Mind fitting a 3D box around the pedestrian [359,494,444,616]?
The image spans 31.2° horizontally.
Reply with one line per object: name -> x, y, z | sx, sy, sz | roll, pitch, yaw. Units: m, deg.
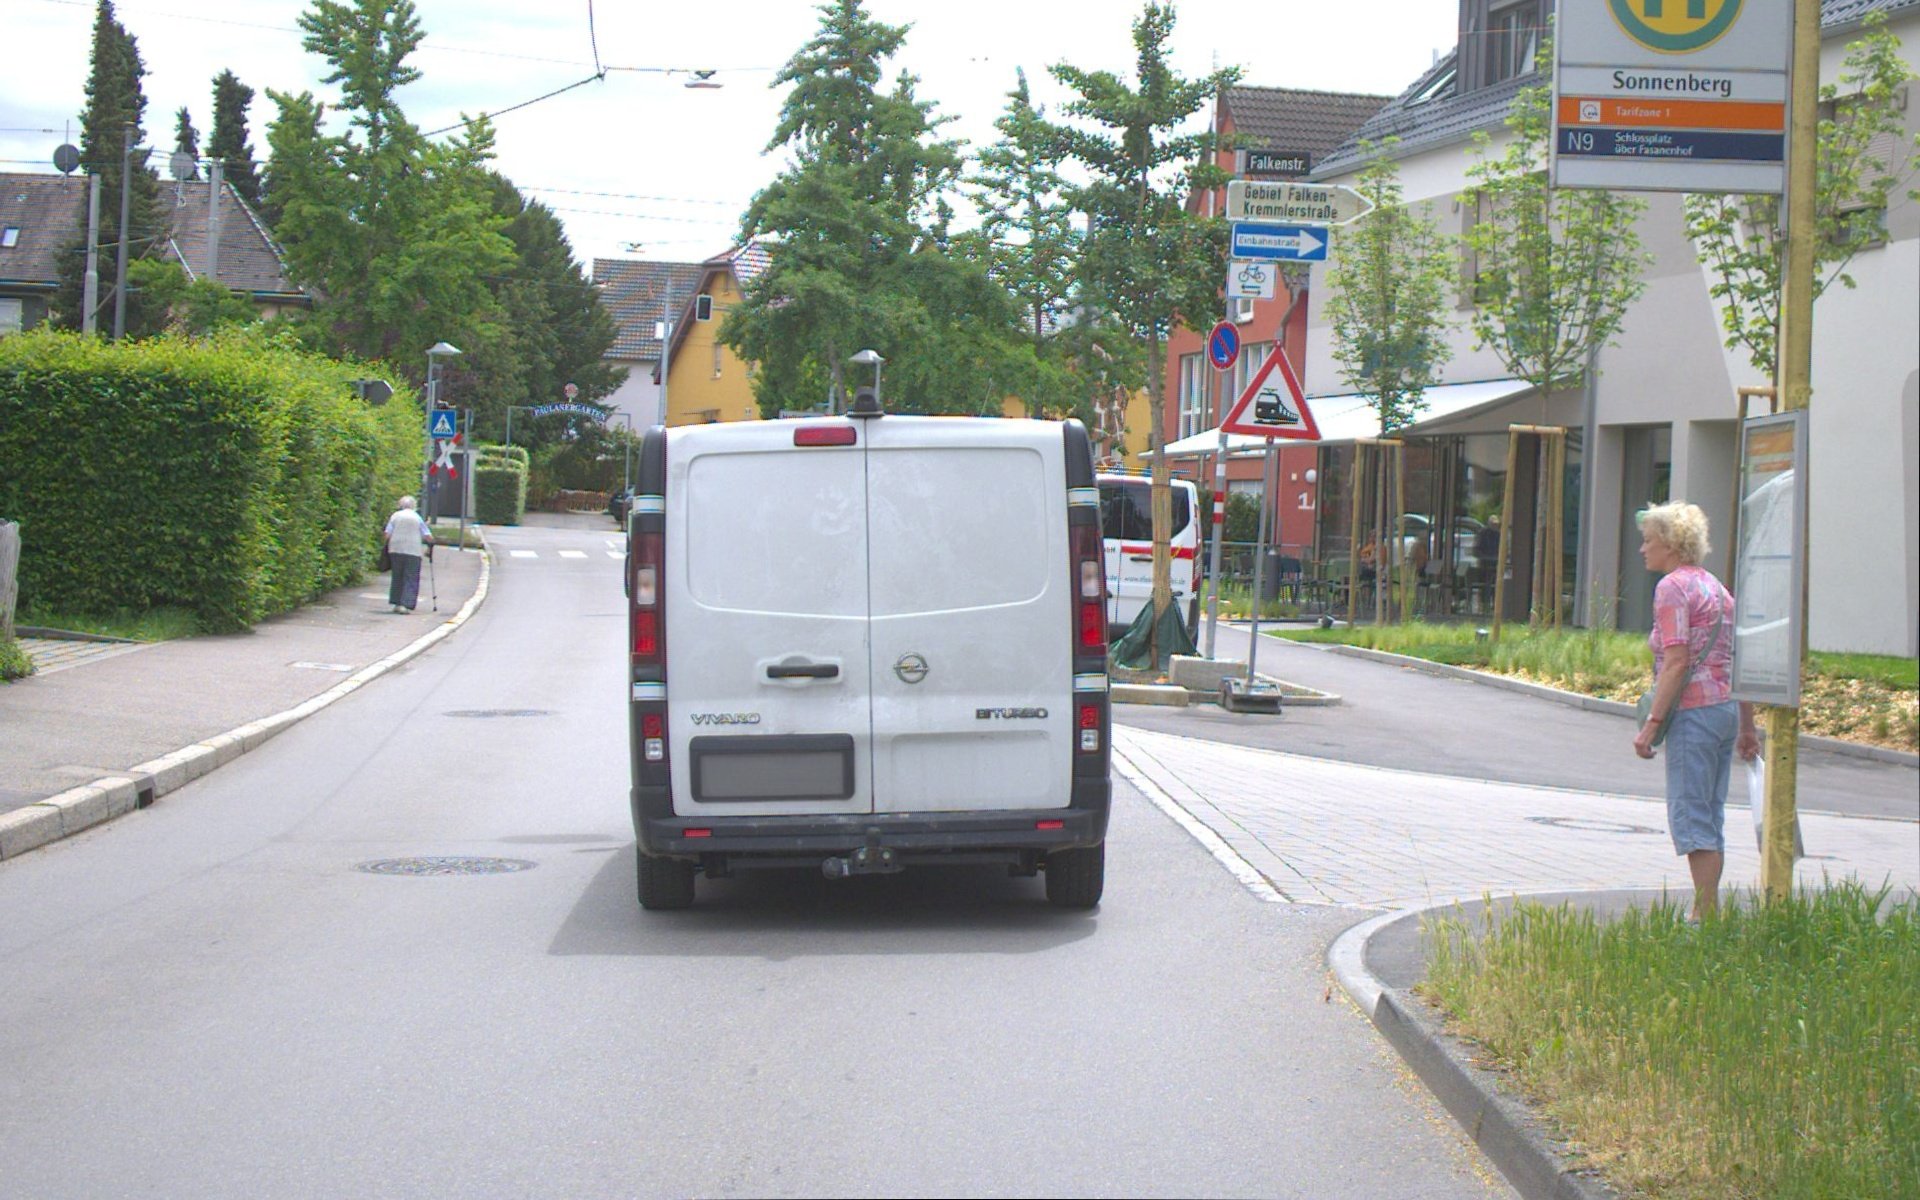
pedestrian -> -7.092, -0.569, 43.671 | 0.876, 1.480, 0.455 | 4, 1, -25

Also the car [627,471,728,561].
car -> -5.890, -1.734, 71.347 | 1.993, 1.776, 4.001 | 1, 1, -6

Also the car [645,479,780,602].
car -> -3.983, -0.957, 54.847 | 1.993, 1.842, 4.001 | 1, 1, -6

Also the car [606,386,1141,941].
car -> -0.518, 0.212, 14.859 | 1.915, 1.996, 4.438 | 2, 1, -5

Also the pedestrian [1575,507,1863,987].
pedestrian -> 2.779, 0.519, 12.651 | 0.881, 1.639, 0.856 | 4, 1, 11

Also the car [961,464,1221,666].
car -> 1.335, -0.404, 37.325 | 1.958, 1.909, 4.903 | 4, 1, -7

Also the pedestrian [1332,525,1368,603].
pedestrian -> 5.938, -0.553, 52.354 | 0.421, 1.178, 0.324 | 2, 1, -8
